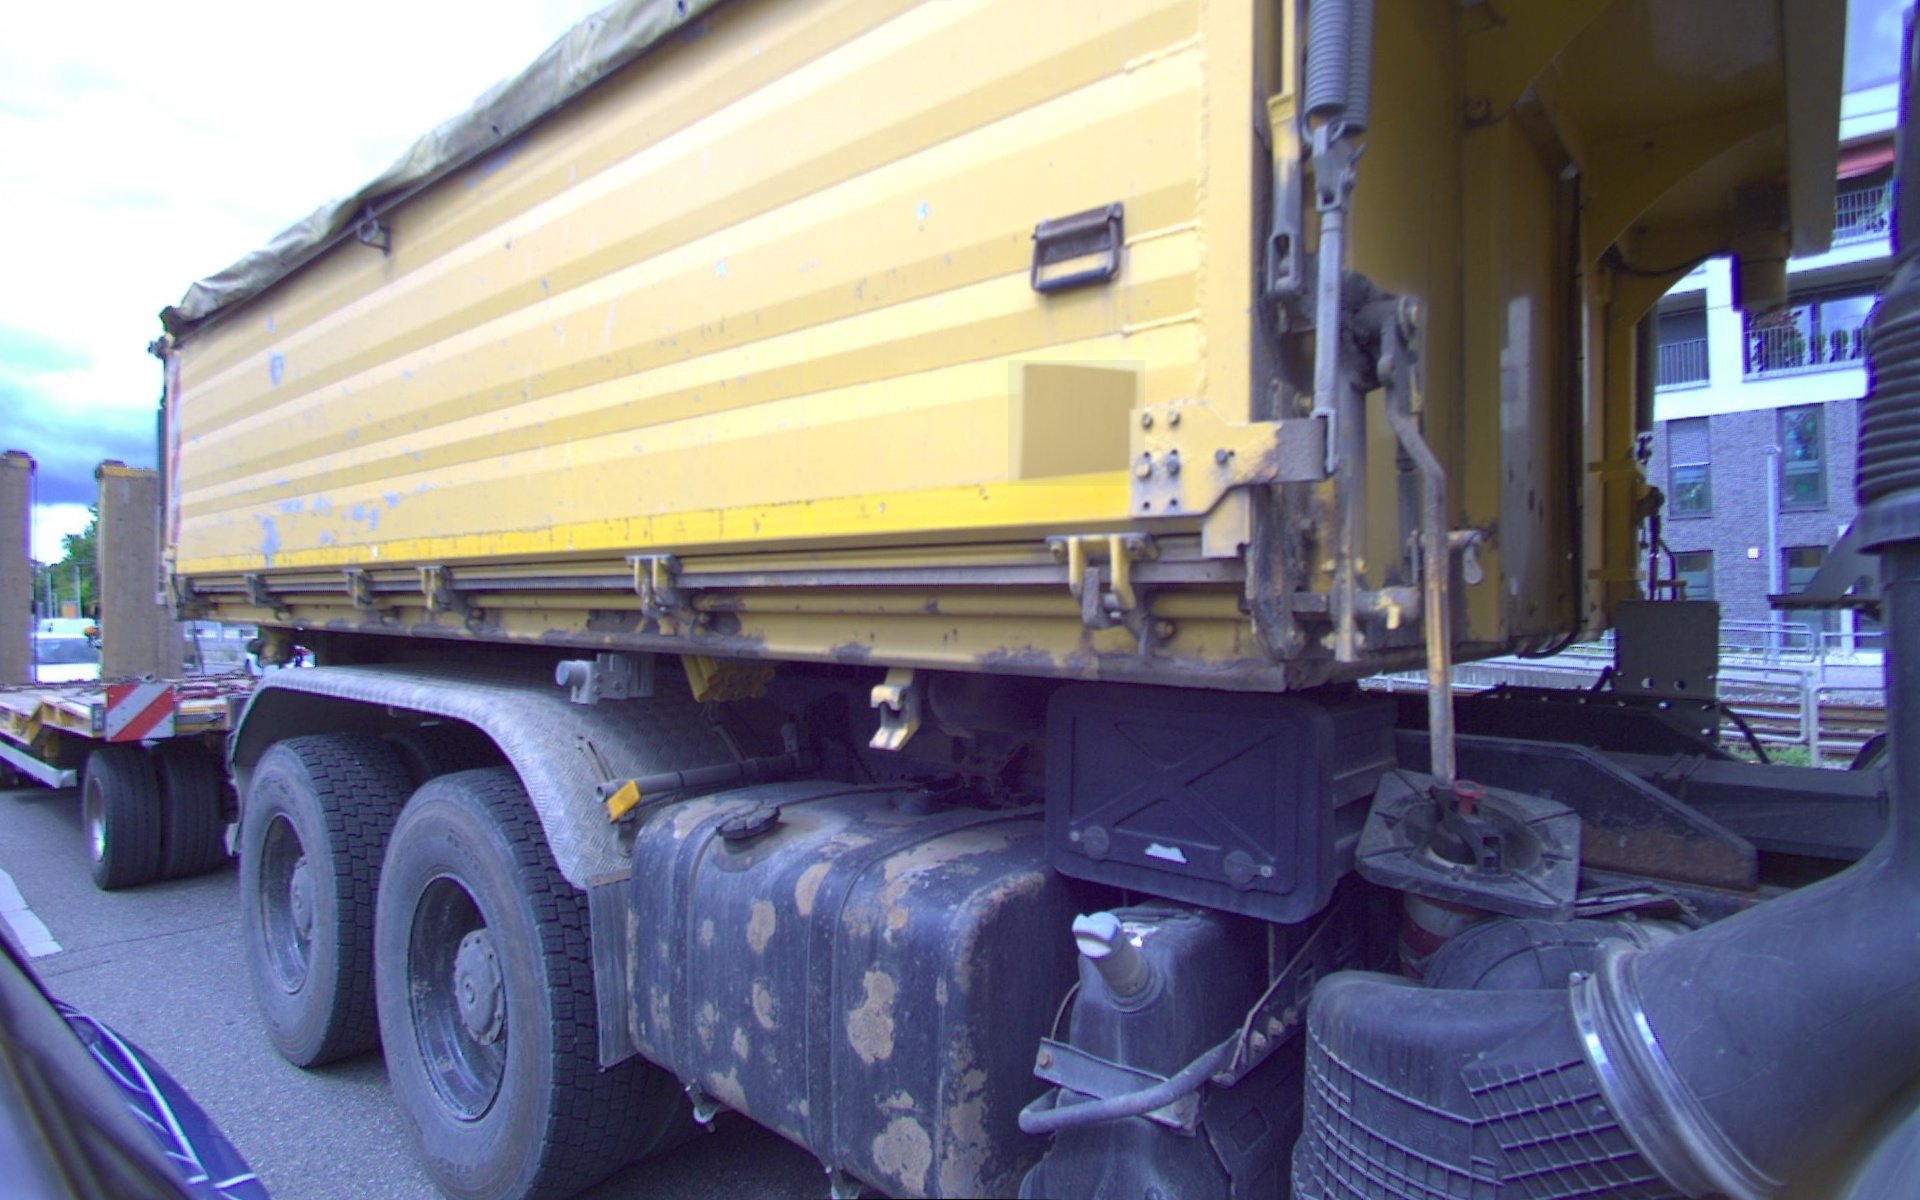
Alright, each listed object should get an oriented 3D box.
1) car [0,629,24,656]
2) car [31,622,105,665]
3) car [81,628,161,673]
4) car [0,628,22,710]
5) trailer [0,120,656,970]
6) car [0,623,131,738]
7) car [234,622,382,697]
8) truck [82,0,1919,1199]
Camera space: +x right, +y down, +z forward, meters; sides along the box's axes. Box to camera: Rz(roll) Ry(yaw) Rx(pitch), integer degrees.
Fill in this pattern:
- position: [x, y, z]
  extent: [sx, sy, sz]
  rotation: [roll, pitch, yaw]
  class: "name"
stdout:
- position: [-54.173, 2.401, 57.138]
  extent: [3.552, 1.509, 1.623]
  rotation: [-2, -1, 41]
  class: "car"
- position: [-39.610, 1.894, 44.924]
  extent: [4.861, 1.785, 1.863]
  rotation: [-2, -1, 41]
  class: "car"
- position: [-30.176, 1.788, 36.358]
  extent: [3.564, 1.469, 1.683]
  rotation: [-2, -1, 41]
  class: "car"
- position: [-19.669, 1.324, 19.687]
  extent: [3.998, 1.490, 1.671]
  rotation: [-1, 0, 41]
  class: "car"
- position: [-6.875, -0.135, 8.843]
  extent: [10.909, 3.548, 2.678]
  rotation: [-2, -1, 41]
  class: "trailer"
- position: [-14.159, 1.134, 15.461]
  extent: [3.998, 1.490, 1.671]
  rotation: [-1, 0, 41]
  class: "car"
- position: [-14.417, 1.260, 22.292]
  extent: [4.278, 1.452, 1.743]
  rotation: [-2, -1, 43]
  class: "car"
- position: [0.144, -0.041, 2.676]
  extent: [7.775, 3.026, 2.692]
  rotation: [-1, 0, 41]
  class: "truck"
